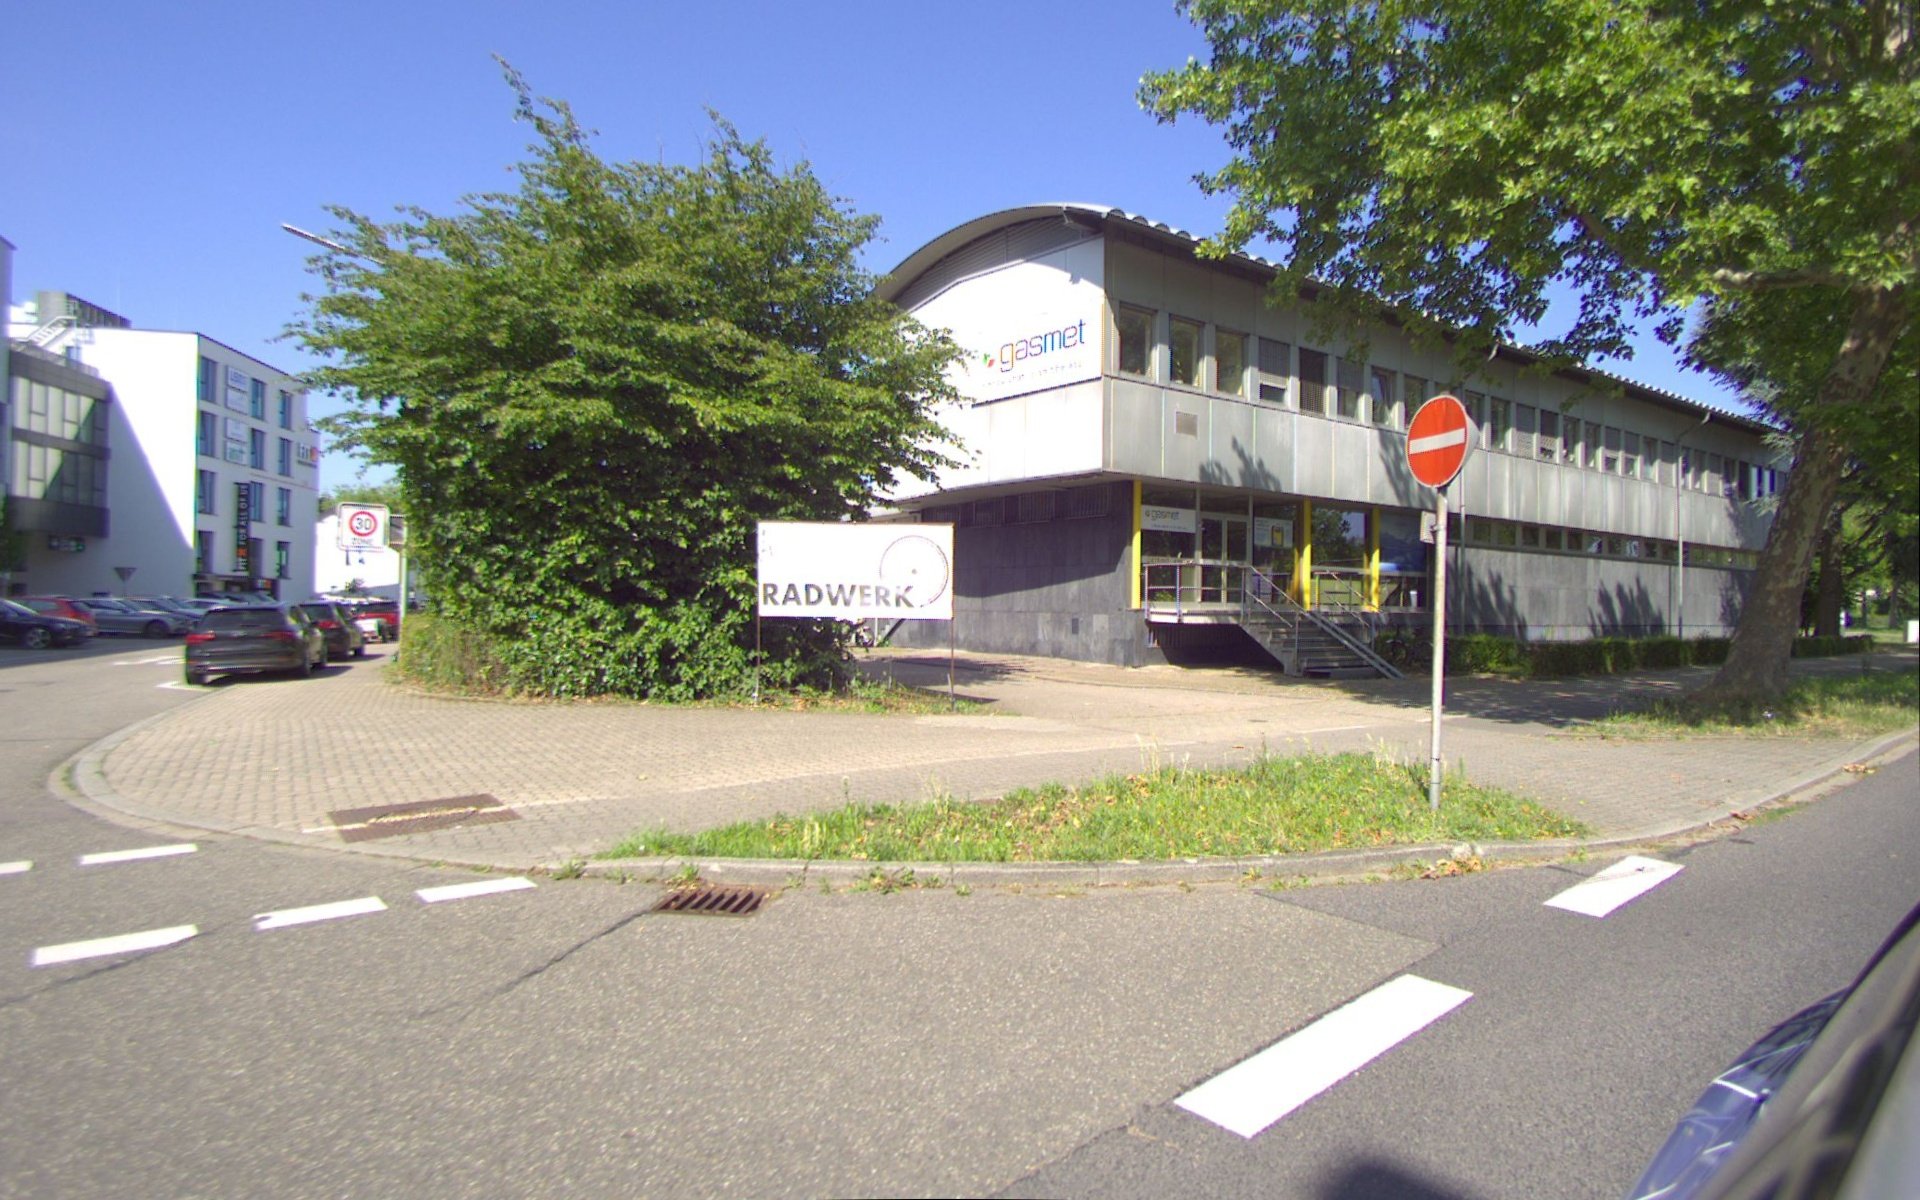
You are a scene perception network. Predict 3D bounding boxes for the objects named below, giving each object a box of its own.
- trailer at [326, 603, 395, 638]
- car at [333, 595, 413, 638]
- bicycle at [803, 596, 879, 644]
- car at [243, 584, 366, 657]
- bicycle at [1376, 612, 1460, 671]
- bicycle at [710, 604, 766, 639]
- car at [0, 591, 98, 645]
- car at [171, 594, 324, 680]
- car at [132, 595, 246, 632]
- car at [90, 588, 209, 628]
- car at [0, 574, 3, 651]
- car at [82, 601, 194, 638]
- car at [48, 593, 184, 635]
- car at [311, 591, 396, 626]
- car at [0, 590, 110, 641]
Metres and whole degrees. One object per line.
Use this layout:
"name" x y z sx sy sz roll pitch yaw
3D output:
"trailer" -21.056 0.706 35.651 1.564 1.195 3.234 0 -1 -21
"car" -22.419 0.617 38.815 1.958 1.537 4.270 0 -1 -21
"bicycle" -3.512 0.568 29.915 2.133 1.368 0.823 -1 0 -14
"car" -15.614 0.484 24.319 1.959 1.572 4.006 2 -1 -26
"bicycle" 9.788 0.855 21.683 0.498 1.144 1.679 1 1 -26
"bicycle" -7.565 0.730 34.541 1.697 1.163 0.811 1 0 -31
"car" -26.330 0.467 27.975 3.458 1.395 1.651 2 0 -27
"car" -13.222 0.626 19.022 1.833 1.416 4.061 -1 0 -28
"car" -33.375 0.581 43.925 3.630 1.505 1.709 1 0 -27
"car" -32.872 0.326 41.145 3.458 1.454 1.651 2 0 -27
"car" -24.817 0.245 22.720 4.388 1.876 2.003 1 -1 -26
"car" -31.424 0.736 38.764 3.063 1.357 1.479 1 0 -27
"car" -30.467 0.513 36.660 3.458 1.395 1.651 2 0 -27
"car" -39.851 0.565 66.603 4.305 1.986 1.861 4 -2 -14
"car" -27.866 0.453 30.217 3.458 1.395 1.651 2 0 -27
